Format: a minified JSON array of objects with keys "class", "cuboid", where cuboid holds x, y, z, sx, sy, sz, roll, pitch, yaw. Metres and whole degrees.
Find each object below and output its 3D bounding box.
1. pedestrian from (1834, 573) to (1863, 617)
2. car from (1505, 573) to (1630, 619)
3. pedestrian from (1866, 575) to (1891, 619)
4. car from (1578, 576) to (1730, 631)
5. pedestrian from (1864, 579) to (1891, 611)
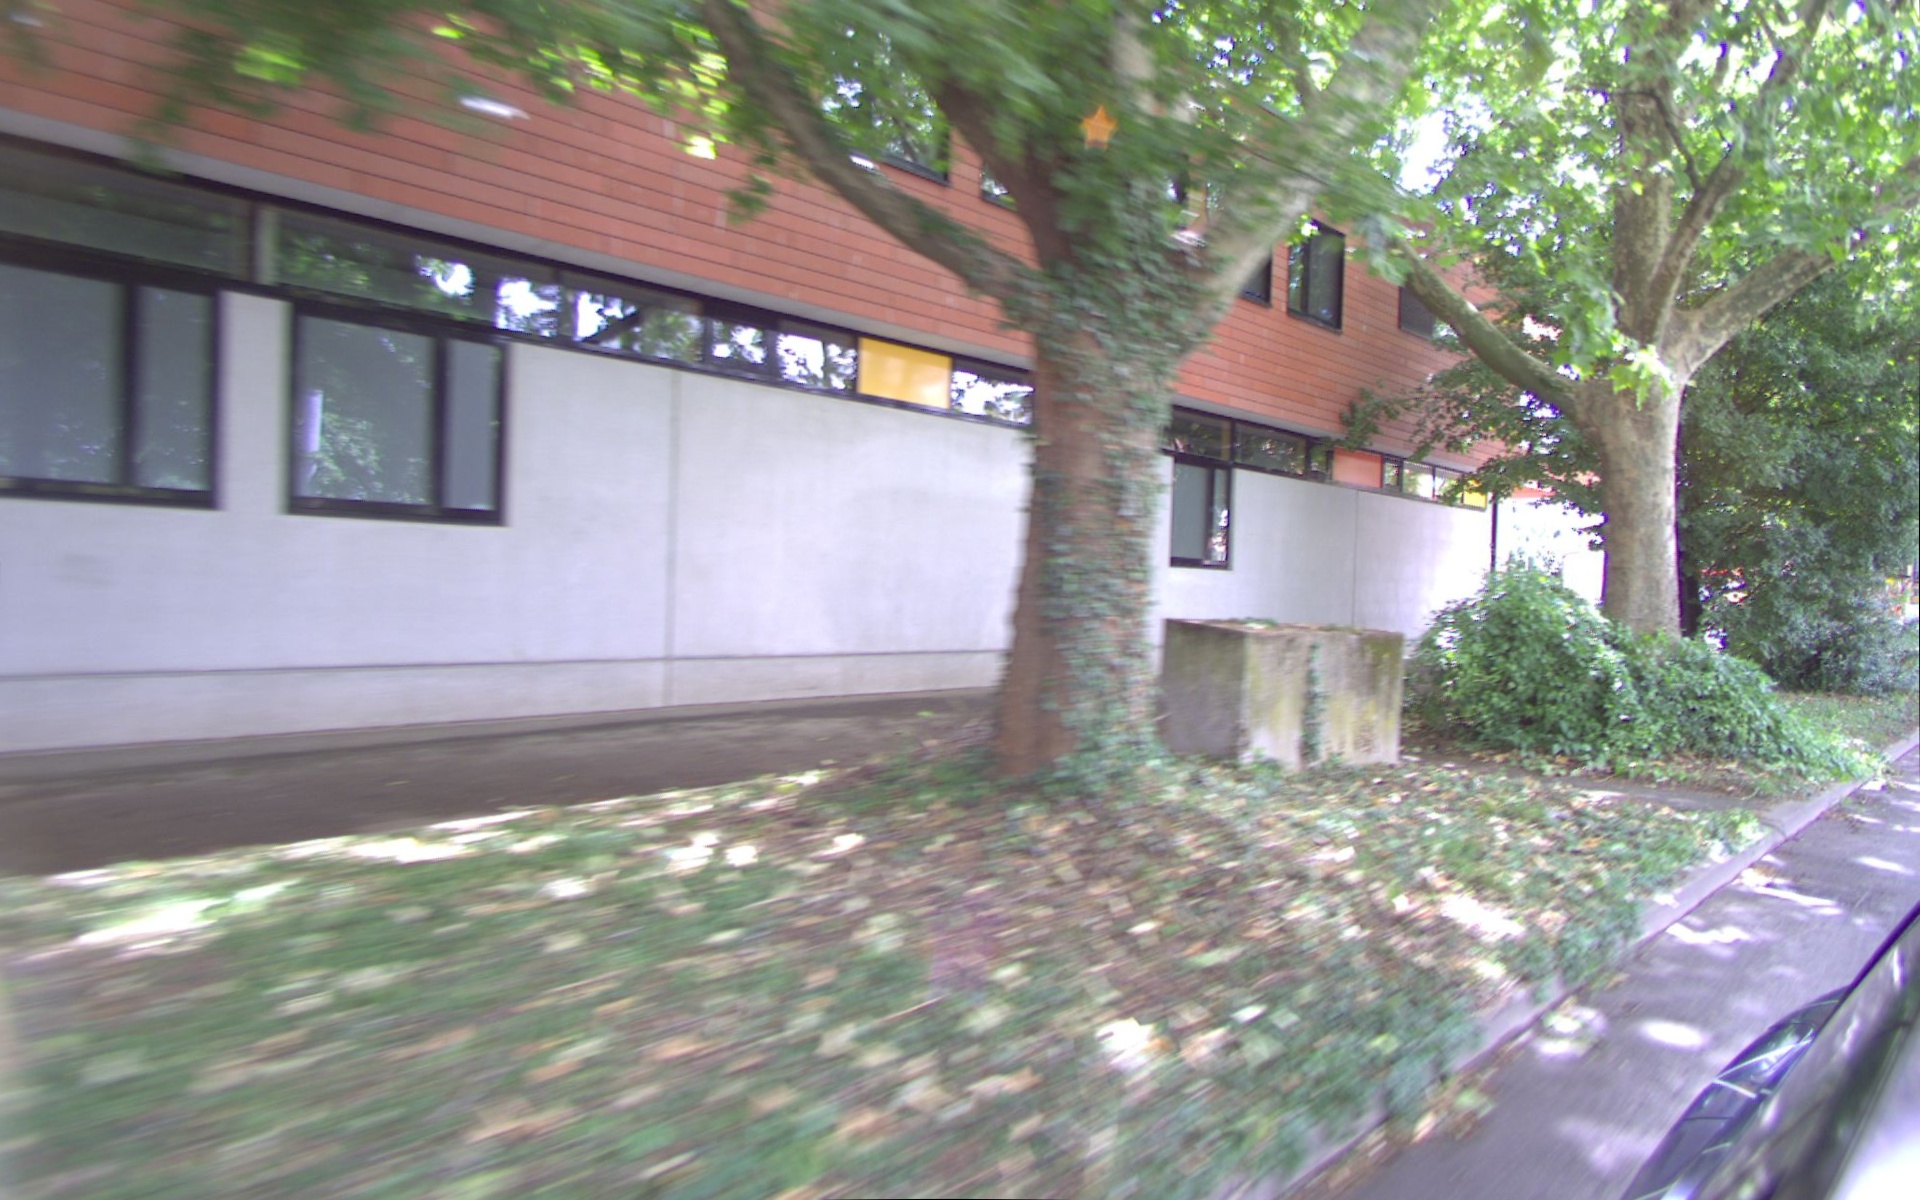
[{"class":"pedestrian","cuboid":[36.101,-0.217,41.107,0.648,1.746,0.759,0,3,-45]},{"class":"car","cuboid":[24.707,-0.192,41.237,4.091,1.675,1.783,3,2,42]},{"class":"pedestrian","cuboid":[36.762,-0.128,40.499,0.758,1.697,0.625,0,2,-40]},{"class":"car","cuboid":[24.388,0.097,35.634,4.178,1.702,1.982,4,2,42]},{"class":"pedestrian","cuboid":[53.377,-0.292,58.881,0.595,1.823,0.926,1,2,4]}]
